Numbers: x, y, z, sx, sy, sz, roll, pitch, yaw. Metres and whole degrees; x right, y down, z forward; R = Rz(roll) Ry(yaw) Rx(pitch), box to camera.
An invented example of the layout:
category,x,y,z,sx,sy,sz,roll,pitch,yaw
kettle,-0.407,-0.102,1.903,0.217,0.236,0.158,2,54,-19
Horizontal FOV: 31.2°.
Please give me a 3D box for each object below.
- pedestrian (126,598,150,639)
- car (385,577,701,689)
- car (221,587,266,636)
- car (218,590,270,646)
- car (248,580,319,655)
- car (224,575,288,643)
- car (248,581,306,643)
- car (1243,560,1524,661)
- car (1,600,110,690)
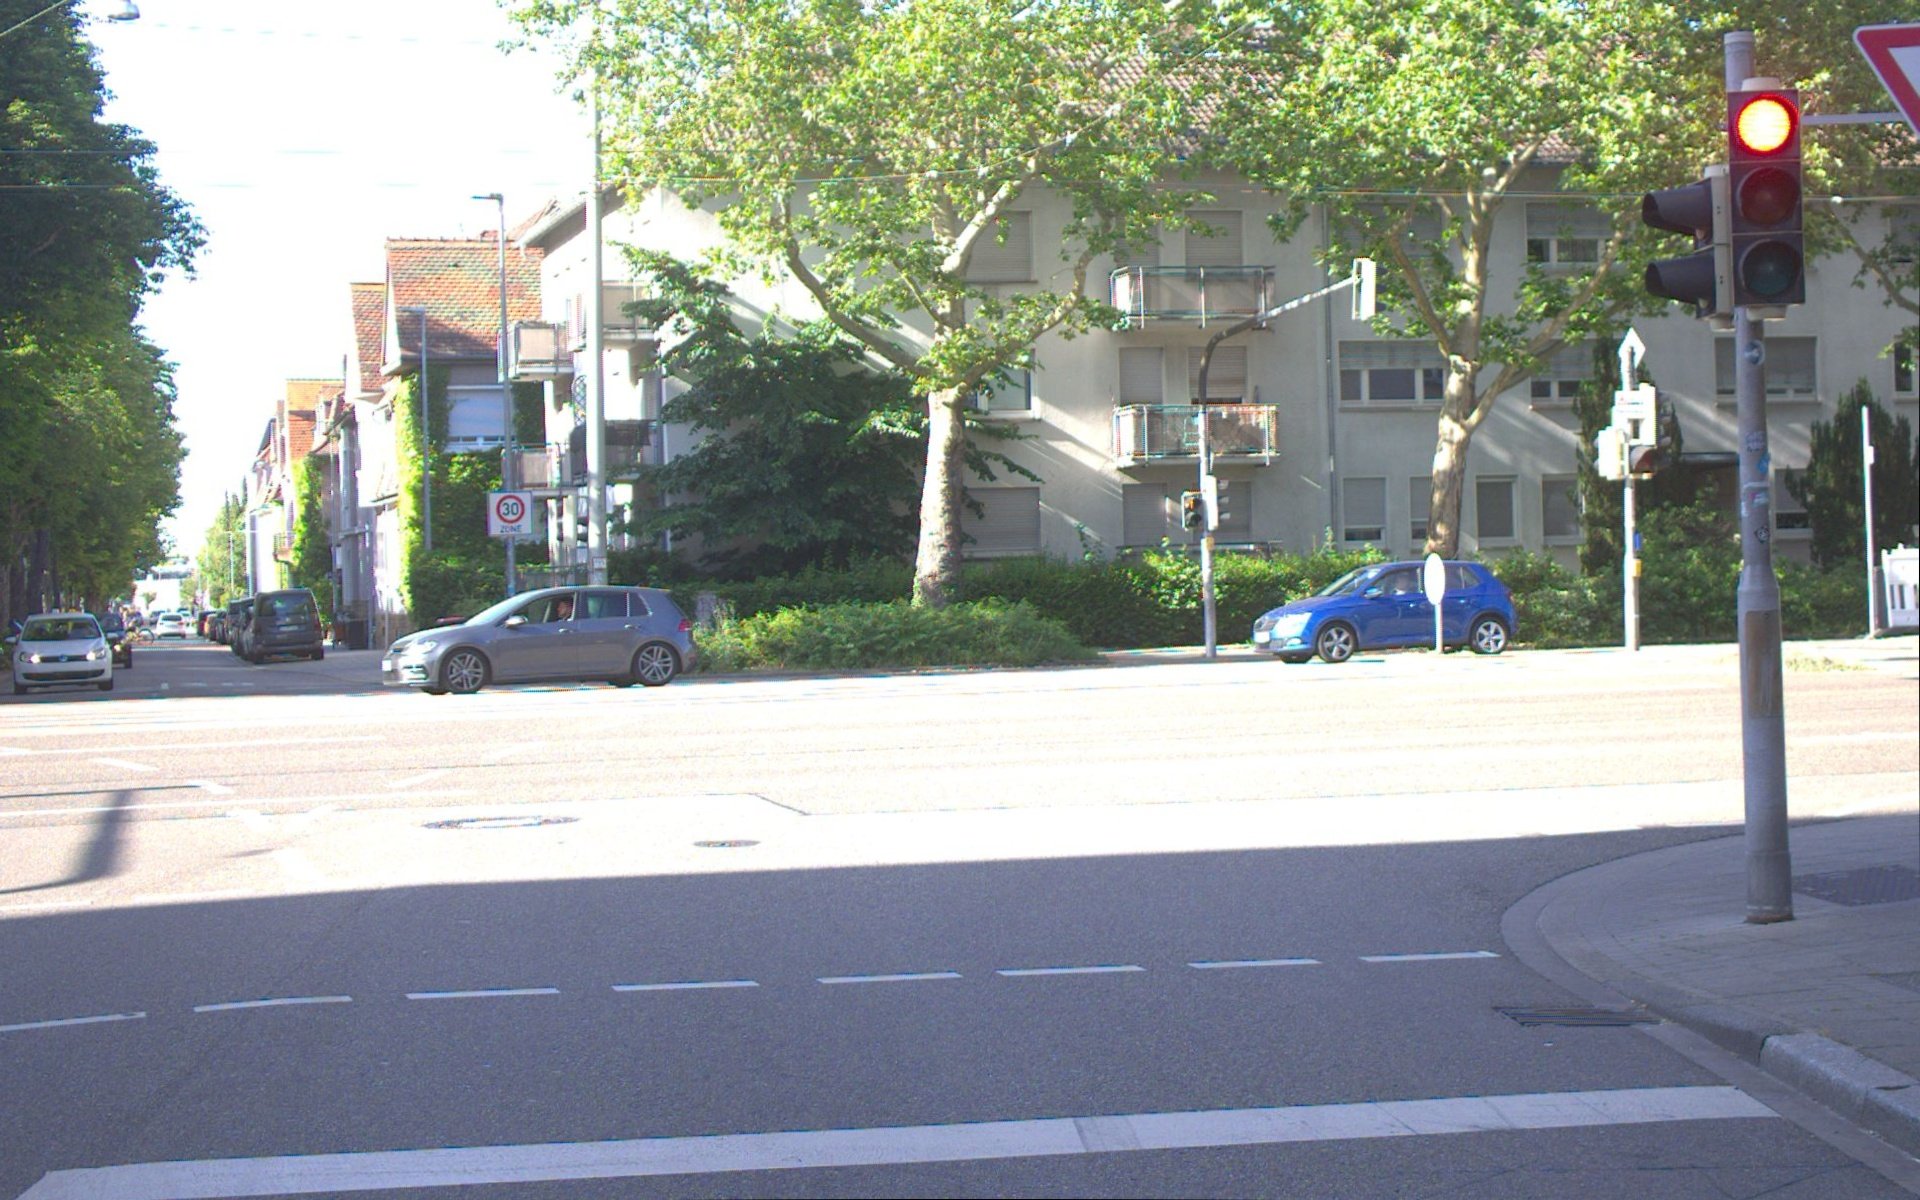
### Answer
category,x,y,z,sx,sy,sz,roll,pitch,yaw
pedestrian,-33.539,0.743,140.243,0.775,1.663,0.633,1,0,2
car,-5.657,0.425,46.616,3.938,1.395,1.646,-1,1,-21
car,-30.525,0.474,146.438,1.772,1.912,3.535,-3,1,-12
car,-26.696,0.656,128.153,1.772,1.912,3.535,-3,1,-12
car,-18.609,0.464,94.515,1.772,1.912,3.535,-3,1,-12
car,-21.448,0.259,104.642,1.772,1.912,3.535,-3,1,-12
car,-22.918,0.381,115.260,1.772,1.912,3.535,-3,1,-12
car,6.268,0.139,50.992,3.779,1.395,1.646,-1,1,-15
car,-16.642,0.811,63.356,1.698,1.478,3.535,-3,1,-12
